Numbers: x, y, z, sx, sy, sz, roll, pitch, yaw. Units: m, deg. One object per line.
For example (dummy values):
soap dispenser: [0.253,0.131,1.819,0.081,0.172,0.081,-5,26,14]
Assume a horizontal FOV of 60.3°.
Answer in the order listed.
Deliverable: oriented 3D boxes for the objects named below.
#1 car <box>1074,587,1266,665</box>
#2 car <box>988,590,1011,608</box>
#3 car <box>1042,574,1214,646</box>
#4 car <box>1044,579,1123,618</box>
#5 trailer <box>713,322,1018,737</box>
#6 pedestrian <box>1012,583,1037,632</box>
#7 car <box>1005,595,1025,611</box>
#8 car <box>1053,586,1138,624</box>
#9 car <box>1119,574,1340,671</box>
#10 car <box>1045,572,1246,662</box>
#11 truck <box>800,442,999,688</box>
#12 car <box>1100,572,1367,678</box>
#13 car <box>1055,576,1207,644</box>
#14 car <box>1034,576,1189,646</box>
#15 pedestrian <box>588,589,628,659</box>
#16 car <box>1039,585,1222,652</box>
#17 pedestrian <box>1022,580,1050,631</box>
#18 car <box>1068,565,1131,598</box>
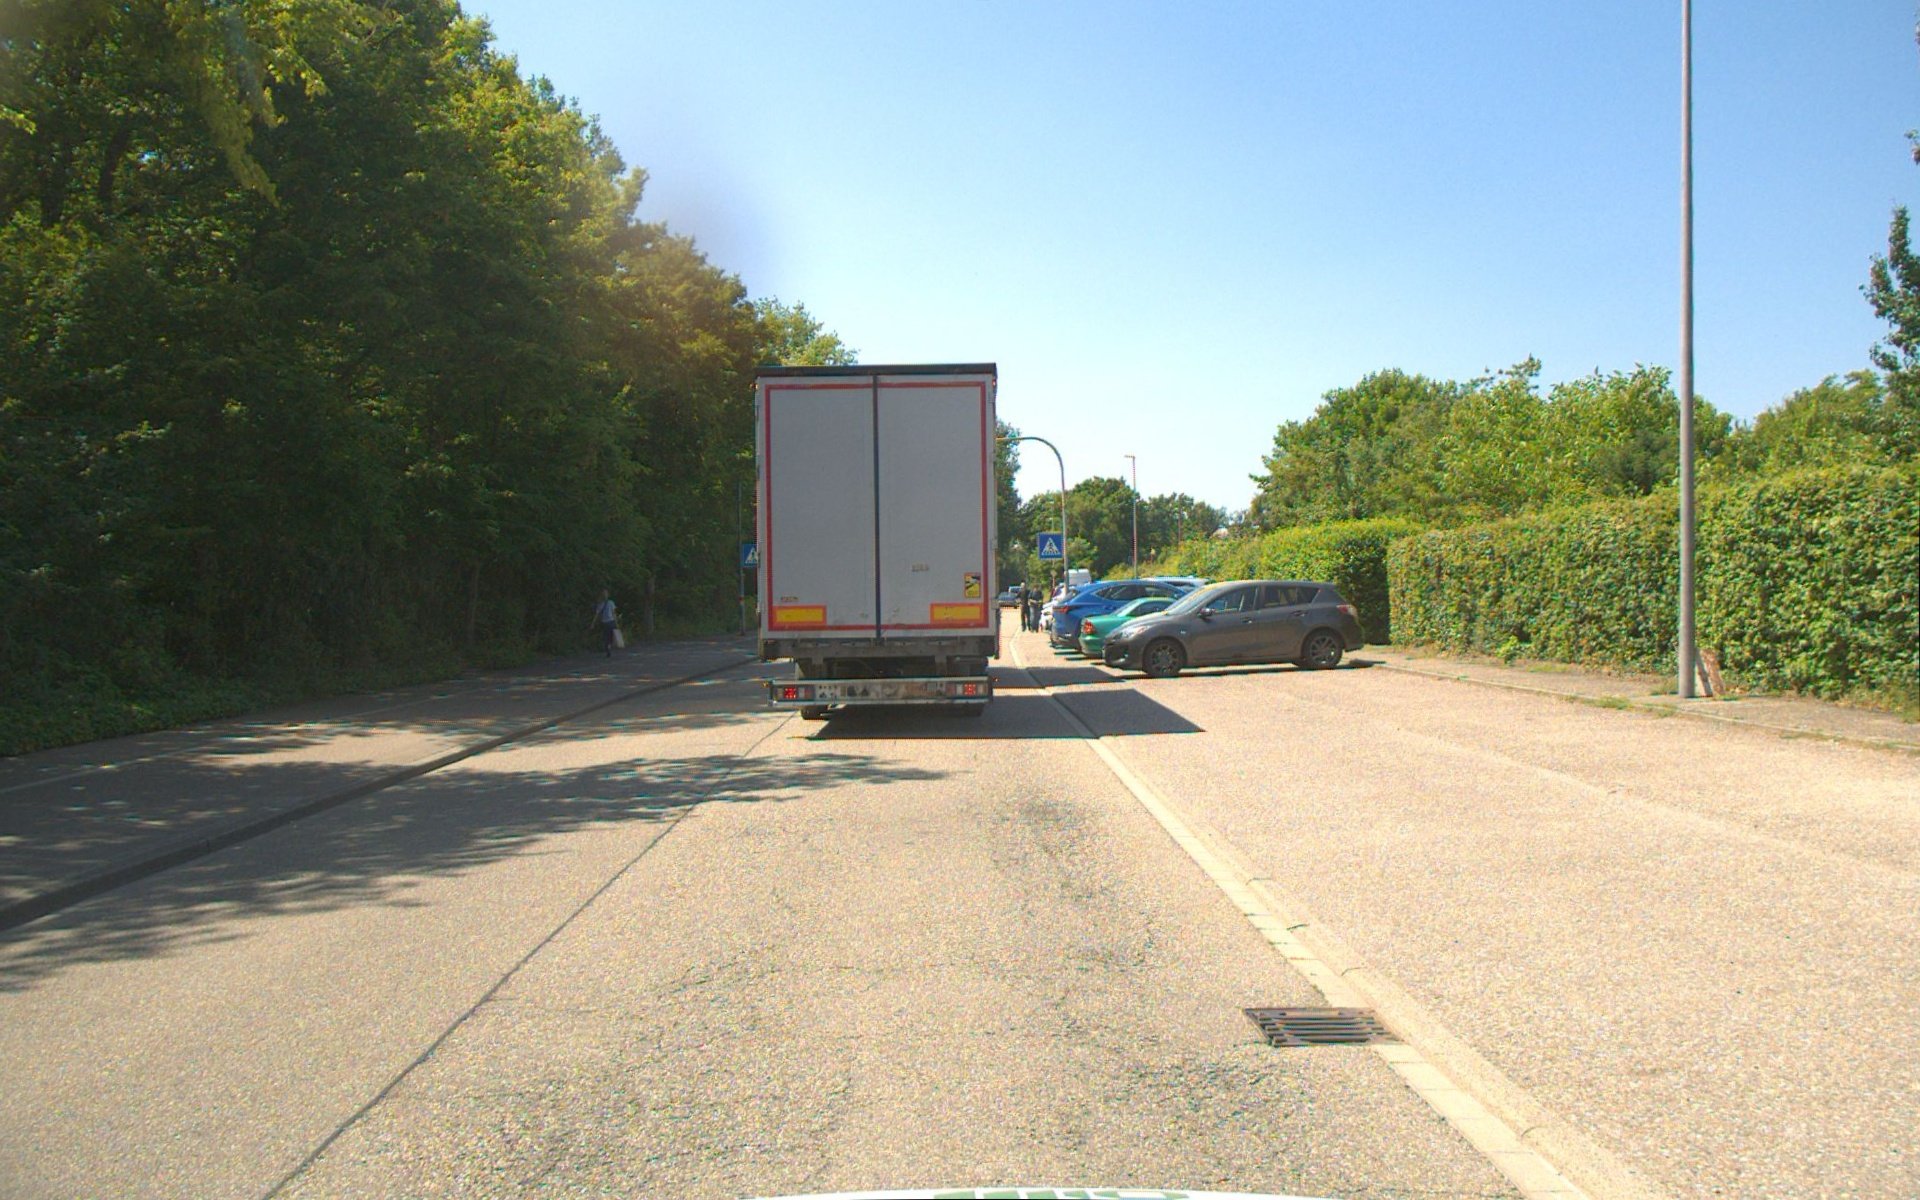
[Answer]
car: [4.235,0.524,33.739,3.658,1.290,1.628,-4,0,1]
car: [3.448,-0.079,145.360,1.745,1.512,3.998,-1,1,-3]
car: [4.286,0.270,42.558,4.150,1.683,1.899,-2,-1,-2]
car: [6.452,-0.065,86.766,3.878,1.796,1.812,-3,0,-3]
trailer: [-0.932,-0.755,22.635,3.049,4.174,11.537,-1,0,0]
pedestrian: [2.524,0.286,65.006,0.804,1.866,0.793,-4,0,6]
car: [5.277,0.279,158.745,1.586,1.449,3.667,-1,1,-3]
car: [6.611,0.214,80.752,3.877,1.647,1.812,-3,0,-3]
car: [4.941,0.411,30.667,3.725,1.480,1.774,-4,0,-1]
car: [4.038,0.358,36.497,4.152,1.662,1.822,-4,0,-1]
truck: [-0.930,-0.571,29.051,3.050,3.790,6.413,-1,0,0]
car: [4.491,0.407,27.571,4.079,1.521,1.882,-3,0,-1]
car: [4.775,0.263,46.643,4.040,1.686,1.887,-3,0,1]
car: [4.470,0.318,49.185,4.316,1.727,1.876,-4,0,-2]
pedestrian: [-8.404,0.561,39.513,0.811,1.651,0.783,0,0,-2]
car: [4.046,0.426,39.541,4.051,1.464,1.812,-1,0,-7]
pedestrian: [2.864,0.214,62.097,0.888,1.829,0.936,-4,0,6]
car: [9.045,-1.182,107.461,3.874,1.829,1.814,-4,-2,3]
